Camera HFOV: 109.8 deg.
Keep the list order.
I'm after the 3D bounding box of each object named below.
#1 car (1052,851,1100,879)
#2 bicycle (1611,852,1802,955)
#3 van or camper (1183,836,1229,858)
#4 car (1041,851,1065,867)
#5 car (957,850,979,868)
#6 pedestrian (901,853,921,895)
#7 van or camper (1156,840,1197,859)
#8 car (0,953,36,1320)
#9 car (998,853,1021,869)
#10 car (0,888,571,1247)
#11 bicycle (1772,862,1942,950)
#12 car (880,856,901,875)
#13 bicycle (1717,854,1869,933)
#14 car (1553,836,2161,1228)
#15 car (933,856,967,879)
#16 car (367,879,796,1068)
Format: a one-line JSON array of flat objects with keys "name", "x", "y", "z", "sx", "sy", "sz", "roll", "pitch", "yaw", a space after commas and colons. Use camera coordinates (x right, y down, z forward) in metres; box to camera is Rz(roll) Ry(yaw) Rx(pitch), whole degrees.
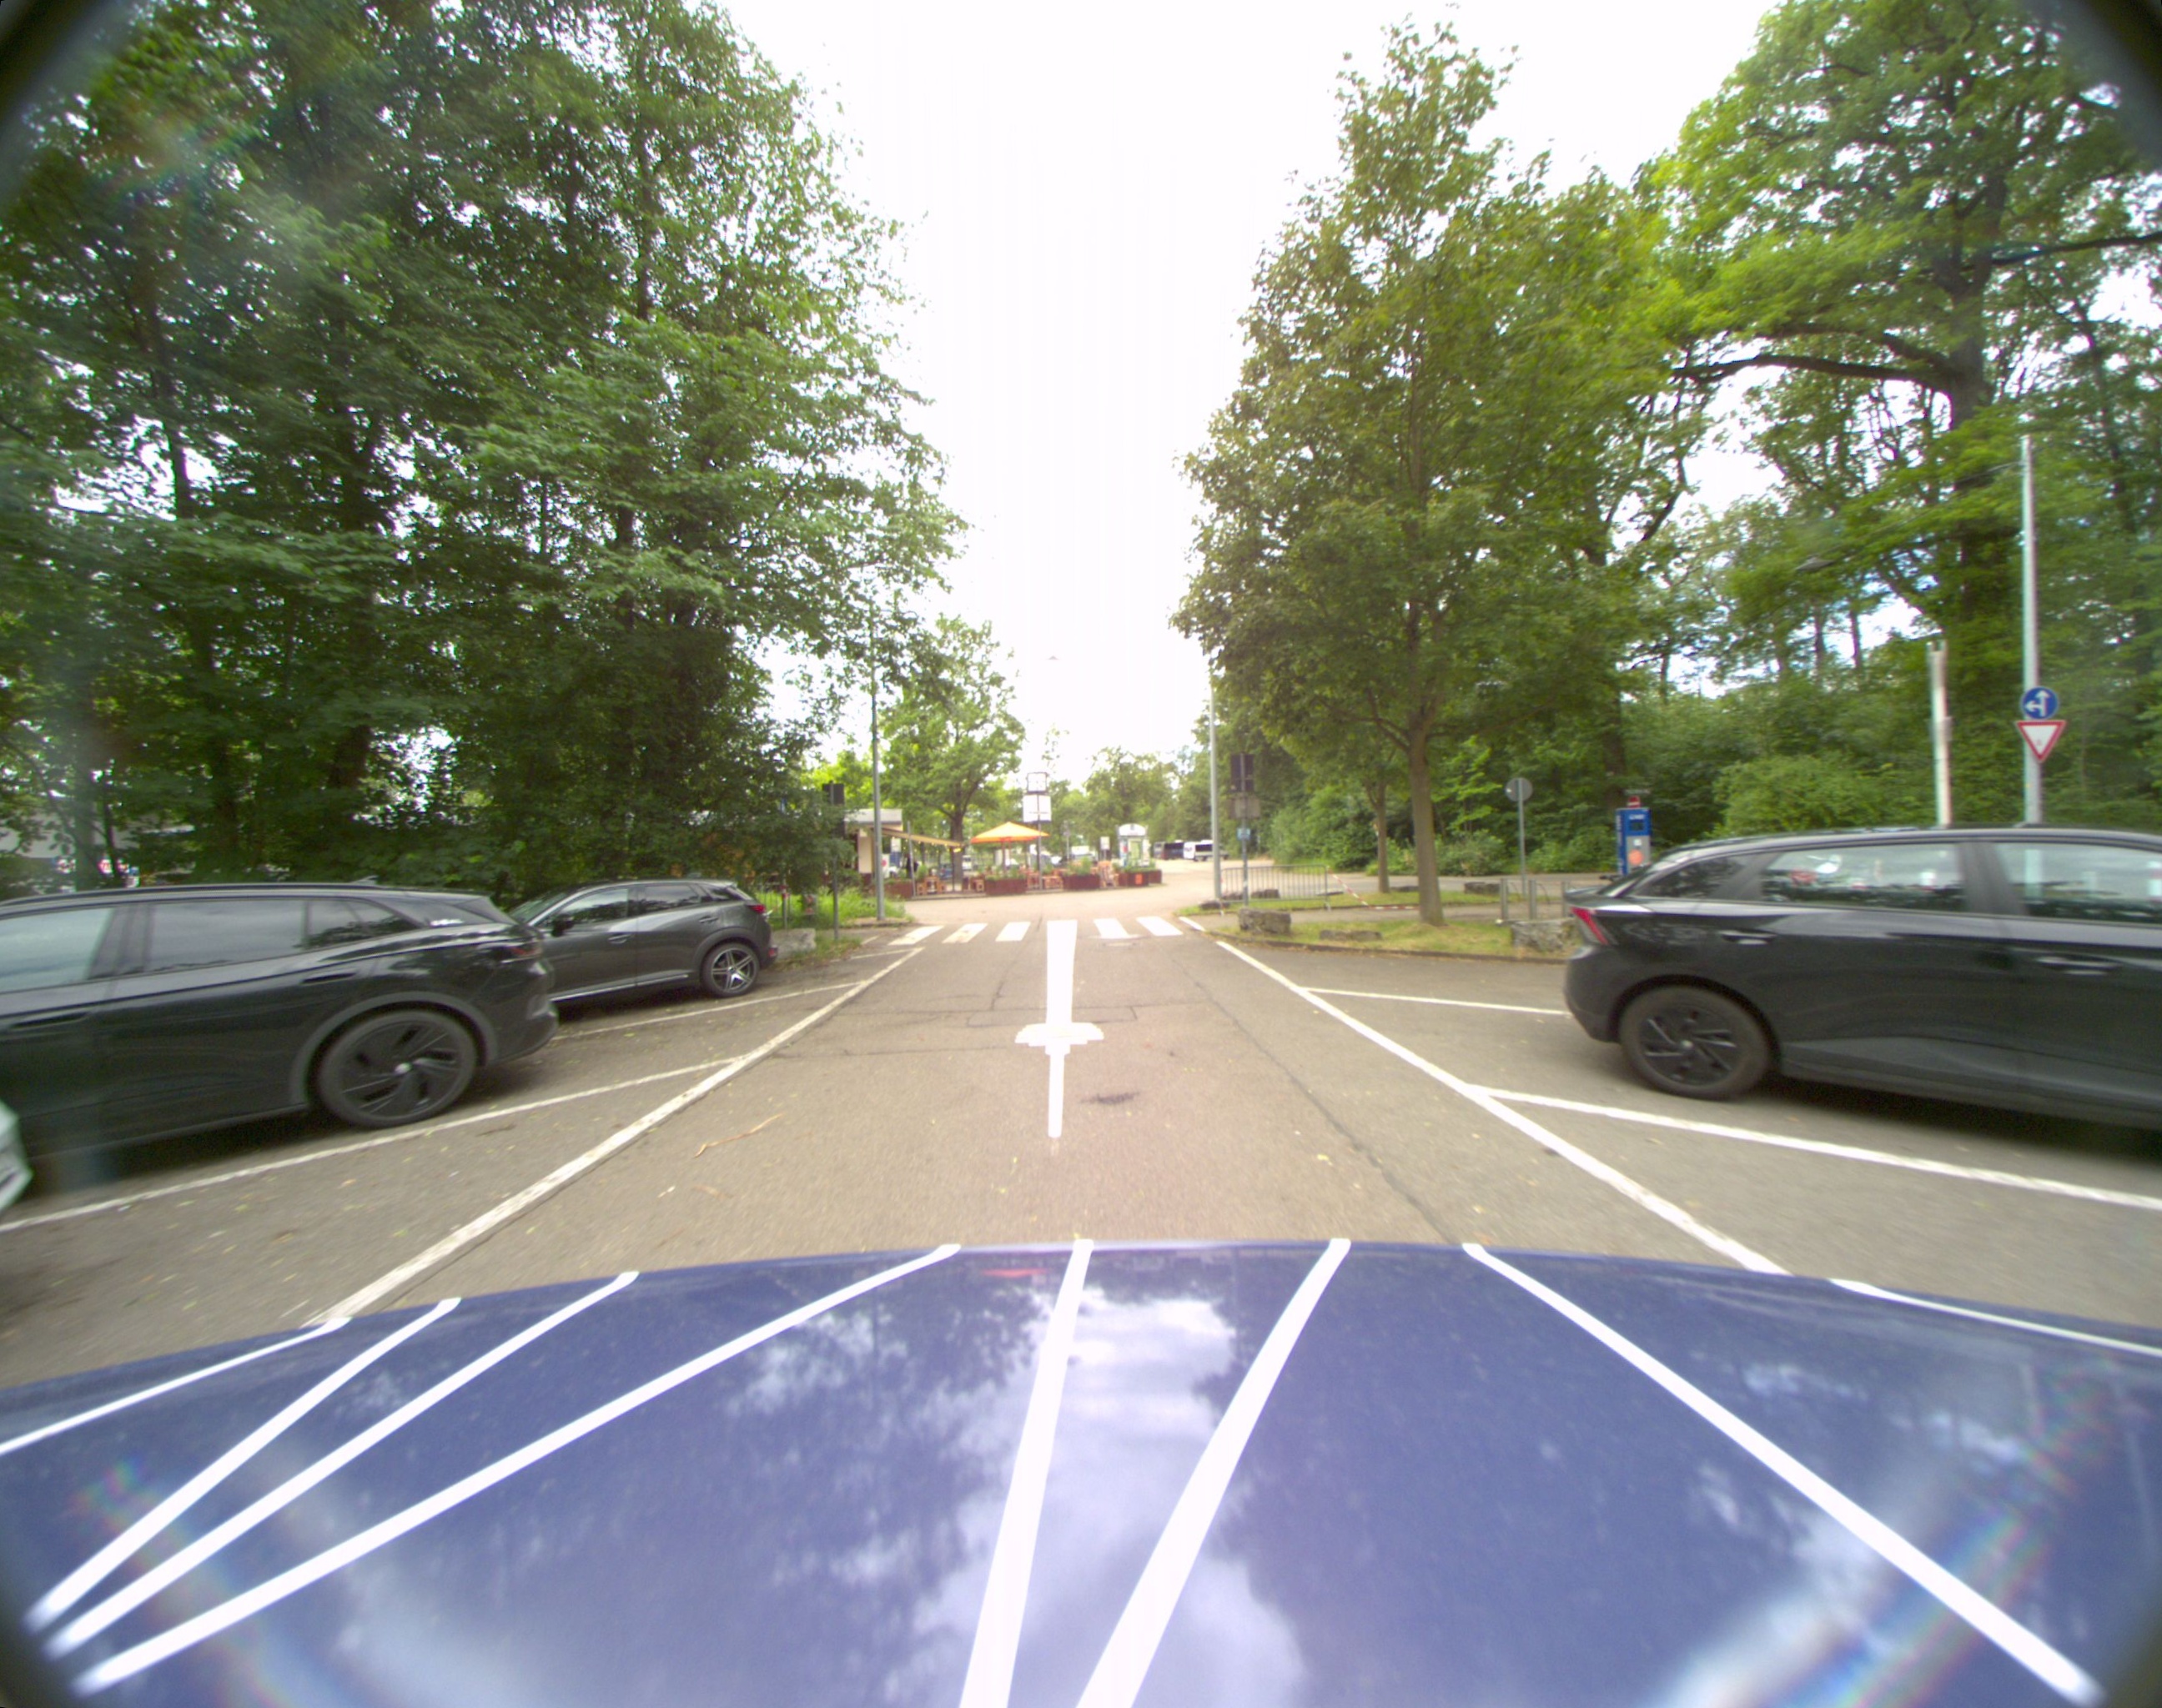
[{"name": "car", "x": -0.391, "y": 0.677, "z": 48.722, "sx": 1.937, "sy": 1.660, "sz": 4.339, "roll": -3, "pitch": 0, "yaw": -16}, {"name": "bicycle", "x": 7.374, "y": 0.575, "z": 8.998, "sx": 1.787, "sy": 1.105, "sz": 0.482, "roll": -3, "pitch": 1, "yaw": 3}, {"name": "van or camper", "x": 17.635, "y": -1.050, "z": 107.044, "sx": 7.353, "sy": 2.833, "sz": 2.063, "roll": -3, "pitch": 1, "yaw": -40}, {"name": "car", "x": -3.459, "y": 0.639, "z": 94.466, "sx": 1.879, "sy": 1.769, "sz": 4.289, "roll": -2, "pitch": 0, "yaw": -17}, {"name": "car", "x": -13.610, "y": 0.656, "z": 91.530, "sx": 1.879, "sy": 2.027, "sz": 4.584, "roll": -2, "pitch": 0, "yaw": -17}, {"name": "pedestrian", "x": -7.496, "y": 0.871, "z": 33.566, "sx": 0.750, "sy": 1.820, "sz": 0.709, "roll": -3, "pitch": 1, "yaw": -8}, {"name": "van or camper", "x": 16.508, "y": -0.763, "z": 130.716, "sx": 7.353, "sy": 2.833, "sz": 2.198, "roll": -3, "pitch": 1, "yaw": -37}, {"name": "car", "x": -5.485, "y": 1.199, "z": 1.216, "sx": 4.127, "sy": 1.430, "sz": 1.865, "roll": -3, "pitch": 1, "yaw": -42}, {"name": "car", "x": -8.788, "y": 0.876, "z": 92.747, "sx": 1.879, "sy": 1.769, "sz": 4.289, "roll": -2, "pitch": 0, "yaw": -17}, {"name": "car", "x": -5.791, "y": 1.128, "z": 4.488, "sx": 1.952, "sy": 1.571, "sz": 4.211, "roll": -2, "pitch": 1, "yaw": 43}, {"name": "bicycle", "x": 10.616, "y": 0.701, "z": 10.424, "sx": 1.683, "sy": 1.105, "sz": 0.506, "roll": -3, "pitch": 1, "yaw": 6}, {"name": "car", "x": -20.952, "y": 1.268, "z": 83.486, "sx": 2.001, "sy": 2.002, "sz": 3.994, "roll": -2, "pitch": 0, "yaw": -17}, {"name": "bicycle", "x": 10.774, "y": 0.588, "z": 11.536, "sx": 1.695, "sy": 1.105, "sz": 0.483, "roll": -3, "pitch": 1, "yaw": 8}, {"name": "car", "x": 4.924, "y": 0.707, "z": 3.692, "sx": 1.834, "sy": 1.514, "sz": 4.089, "roll": -3, "pitch": 1, "yaw": -43}, {"name": "car", "x": -9.329, "y": 0.931, "z": 53.980, "sx": 2.001, "sy": 1.543, "sz": 3.995, "roll": -2, "pitch": 0, "yaw": -14}, {"name": "car", "x": -5.560, "y": 1.148, "z": 8.800, "sx": 1.695, "sy": 1.483, "sz": 3.799, "roll": -2, "pitch": 1, "yaw": 44}]
